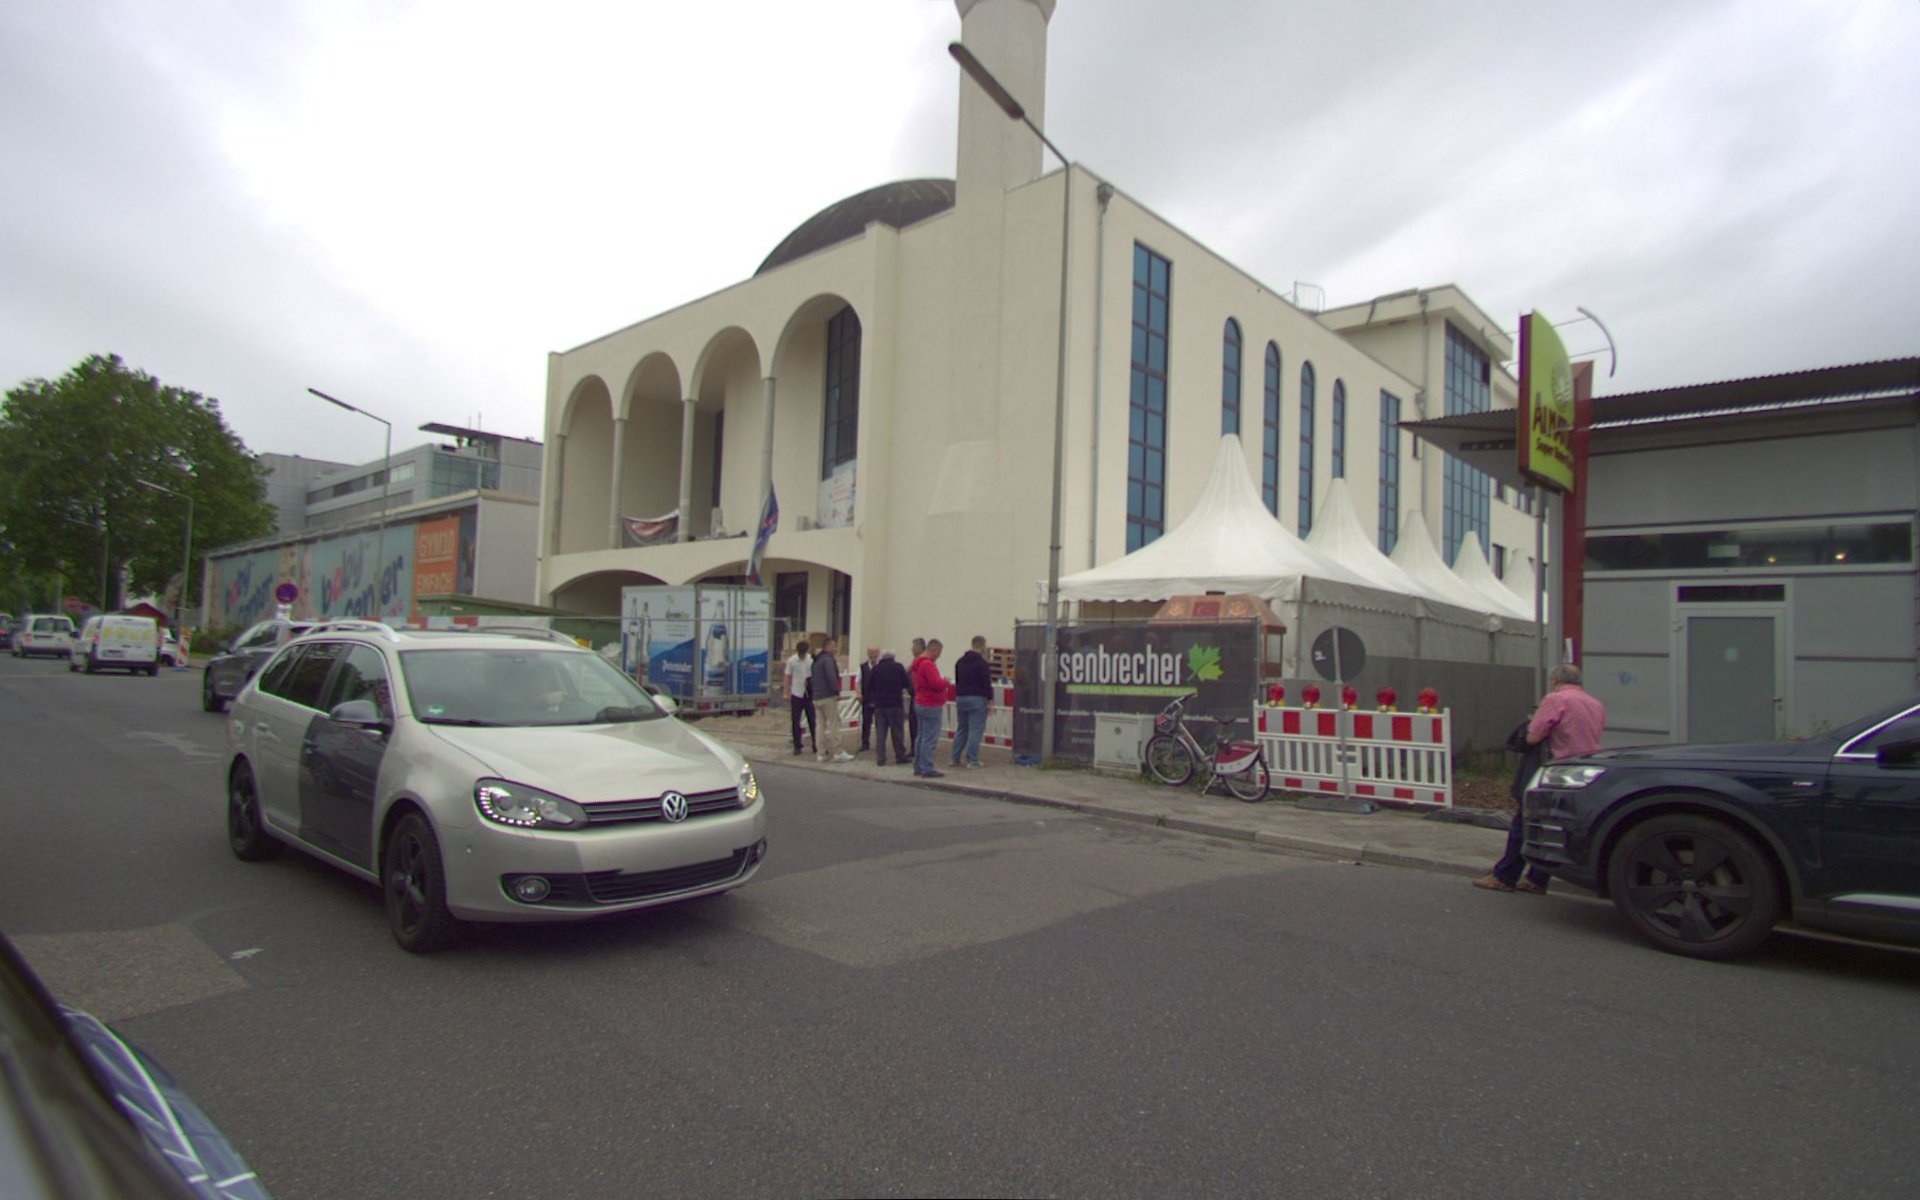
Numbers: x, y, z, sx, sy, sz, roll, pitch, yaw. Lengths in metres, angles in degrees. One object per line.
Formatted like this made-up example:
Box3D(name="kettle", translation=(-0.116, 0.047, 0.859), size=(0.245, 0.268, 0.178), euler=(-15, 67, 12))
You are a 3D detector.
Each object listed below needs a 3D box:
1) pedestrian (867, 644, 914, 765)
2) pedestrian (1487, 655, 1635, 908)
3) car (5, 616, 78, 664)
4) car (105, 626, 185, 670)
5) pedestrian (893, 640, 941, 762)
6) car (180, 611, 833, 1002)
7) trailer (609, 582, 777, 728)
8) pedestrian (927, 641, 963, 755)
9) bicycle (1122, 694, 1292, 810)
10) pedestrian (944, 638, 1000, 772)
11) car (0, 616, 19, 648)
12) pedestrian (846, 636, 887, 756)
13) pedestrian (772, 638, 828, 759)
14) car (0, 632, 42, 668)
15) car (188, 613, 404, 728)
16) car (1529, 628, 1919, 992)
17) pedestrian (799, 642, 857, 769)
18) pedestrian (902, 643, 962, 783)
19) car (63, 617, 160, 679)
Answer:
Box3D(name="pedestrian", translation=(-0.970, 1.427, 13.984), size=(0.562, 1.624, 0.491), euler=(-1, -3, -8))
Box3D(name="pedestrian", translation=(4.242, 1.254, 7.176), size=(0.667, 1.634, 0.652), euler=(4, -6, 7))
Box3D(name="car", translation=(-38.977, 1.679, 42.918), size=(4.383, 1.821, 1.775), euler=(0, -5, 42))
Box3D(name="car", translation=(-33.639, 1.974, 41.723), size=(4.150, 1.586, 1.903), euler=(-1, -8, 44))
Box3D(name="pedestrian", translation=(-0.616, 1.443, 14.523), size=(0.567, 1.706, 0.409), euler=(-2, -3, 14))
Box3D(name="car", translation=(-2.859, 0.857, 5.891), size=(4.294, 1.462, 1.735), euler=(-1, -4, 40))
Box3D(name="trailer", translation=(-5.321, 1.083, 20.037), size=(1.777, 2.627, 3.193), euler=(6, -5, -44))
Box3D(name="pedestrian", translation=(-0.219, 1.451, 15.101), size=(0.484, 1.623, 0.540), euler=(1, 2, 3))
Box3D(name="bicycle", translation=(2.765, 1.673, 11.507), size=(0.537, 1.086, 1.904), euler=(4, -3, -41))
Box3D(name="pedestrian", translation=(0.156, 1.383, 13.554), size=(0.686, 1.731, 0.687), euler=(-2, -3, 0))
Box3D(name="car", translation=(-63.518, 2.066, 66.609), size=(4.956, 2.029, 1.905), euler=(0, -4, 44))
Box3D(name="pedestrian", translation=(-1.402, 1.434, 15.221), size=(0.521, 1.763, 0.490), euler=(-2, -3, 2))
Box3D(name="pedestrian", translation=(-2.399, 1.464, 15.182), size=(0.683, 1.763, 0.489), euler=(-2, -3, 7))
Box3D(name="car", translation=(-46.032, 2.409, 49.167), size=(3.947, 1.583, 1.710), euler=(-1, -6, 43))
Box3D(name="car", translation=(-11.362, 1.148, 17.192), size=(4.494, 1.697, 1.912), euler=(-1, -5, 42))
Box3D(name="car", translation=(5.681, 1.089, 4.970), size=(4.730, 1.704, 1.845), euler=(-1, -8, 44))
Box3D(name="pedestrian", translation=(-1.886, 1.496, 14.466), size=(0.683, 1.763, 0.489), euler=(-2, -3, 7))
Box3D(name="pedestrian", translation=(-0.349, 1.403, 12.746), size=(0.512, 1.706, 0.527), euler=(-4, -4, 32))
Box3D(name="car", translation=(-26.352, 1.466, 31.374), size=(4.134, 1.774, 1.671), euler=(-1, -5, 42))
